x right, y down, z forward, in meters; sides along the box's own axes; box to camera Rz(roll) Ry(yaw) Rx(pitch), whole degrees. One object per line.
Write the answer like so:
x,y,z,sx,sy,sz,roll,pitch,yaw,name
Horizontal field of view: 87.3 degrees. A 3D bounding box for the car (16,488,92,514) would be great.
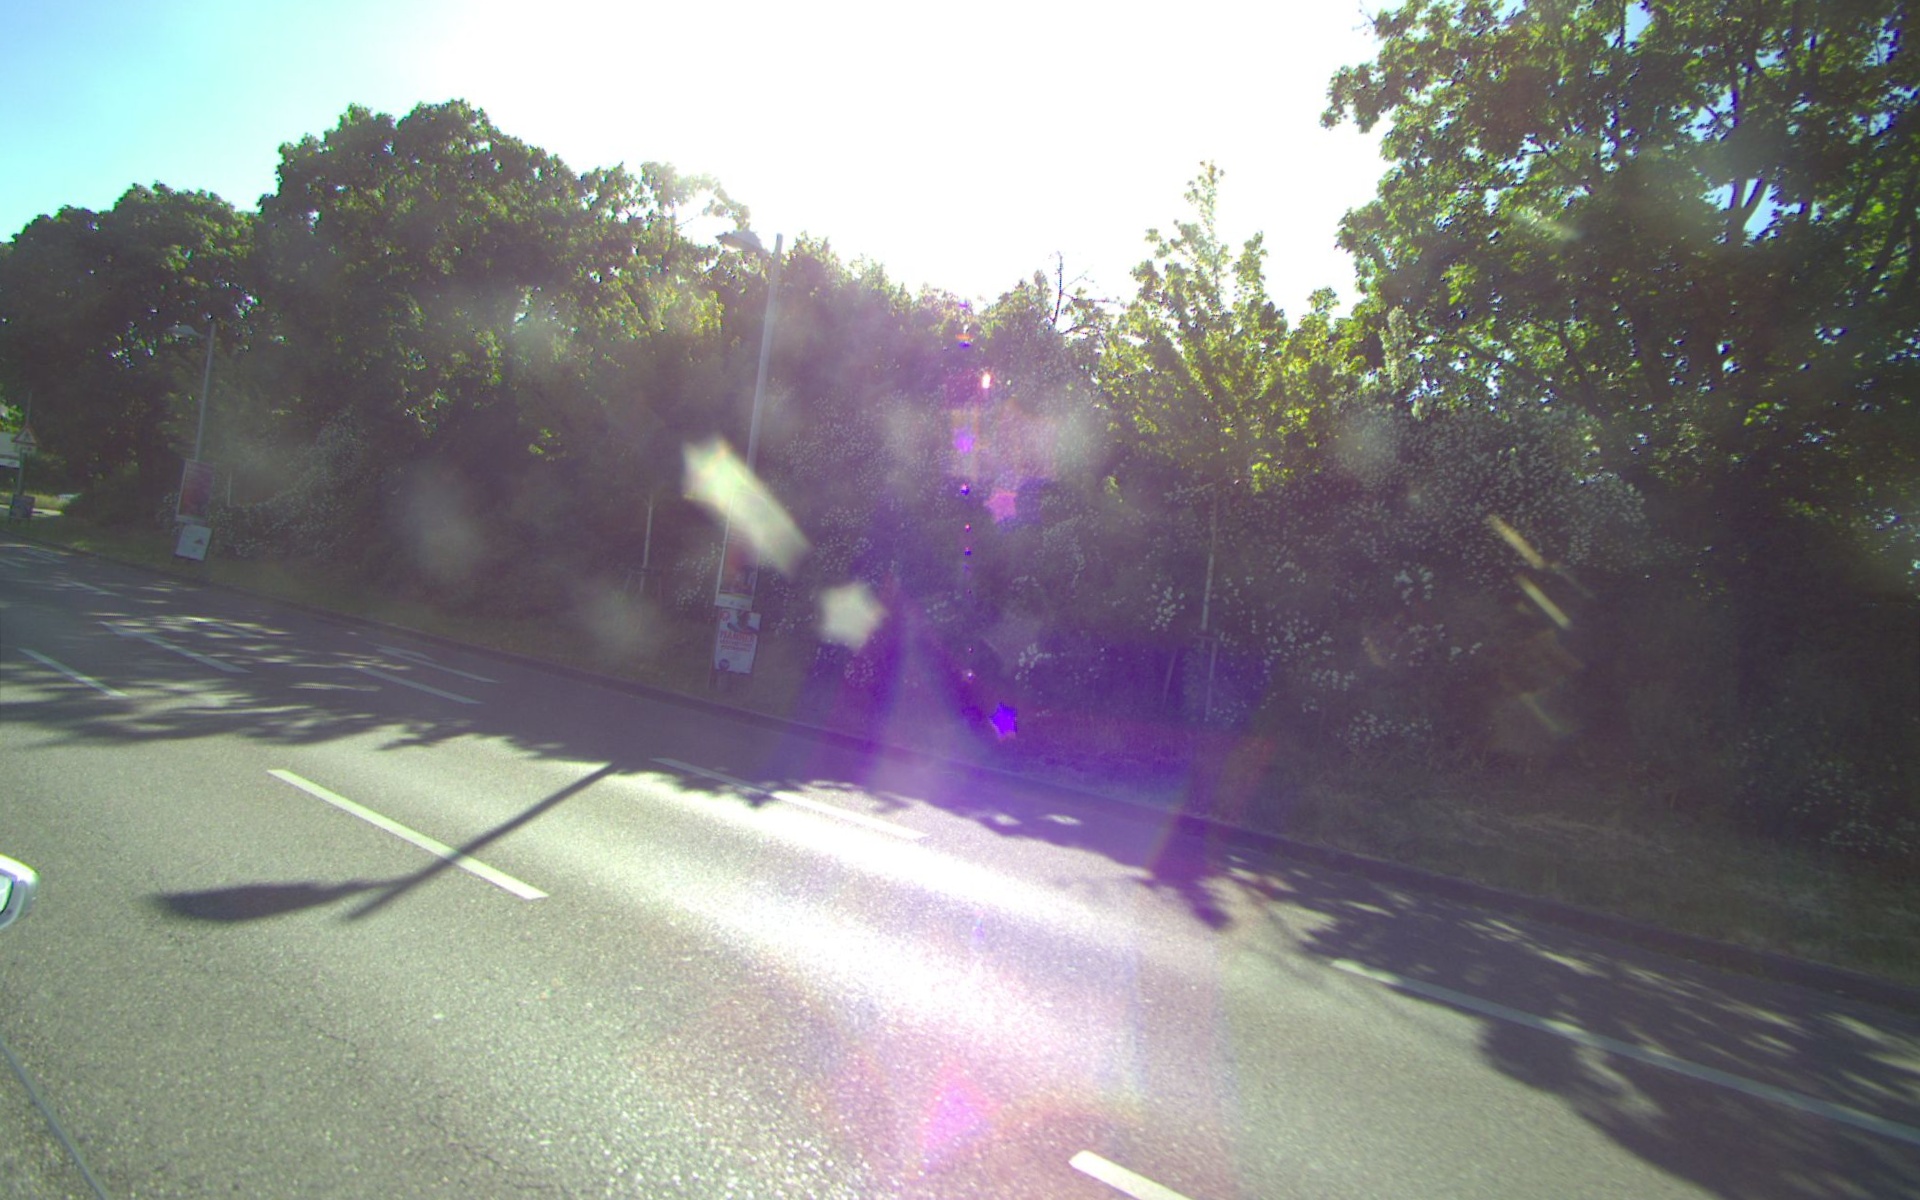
-76.830,-8.398,85.352,2.029,1.387,4.379,7,-1,36,car
